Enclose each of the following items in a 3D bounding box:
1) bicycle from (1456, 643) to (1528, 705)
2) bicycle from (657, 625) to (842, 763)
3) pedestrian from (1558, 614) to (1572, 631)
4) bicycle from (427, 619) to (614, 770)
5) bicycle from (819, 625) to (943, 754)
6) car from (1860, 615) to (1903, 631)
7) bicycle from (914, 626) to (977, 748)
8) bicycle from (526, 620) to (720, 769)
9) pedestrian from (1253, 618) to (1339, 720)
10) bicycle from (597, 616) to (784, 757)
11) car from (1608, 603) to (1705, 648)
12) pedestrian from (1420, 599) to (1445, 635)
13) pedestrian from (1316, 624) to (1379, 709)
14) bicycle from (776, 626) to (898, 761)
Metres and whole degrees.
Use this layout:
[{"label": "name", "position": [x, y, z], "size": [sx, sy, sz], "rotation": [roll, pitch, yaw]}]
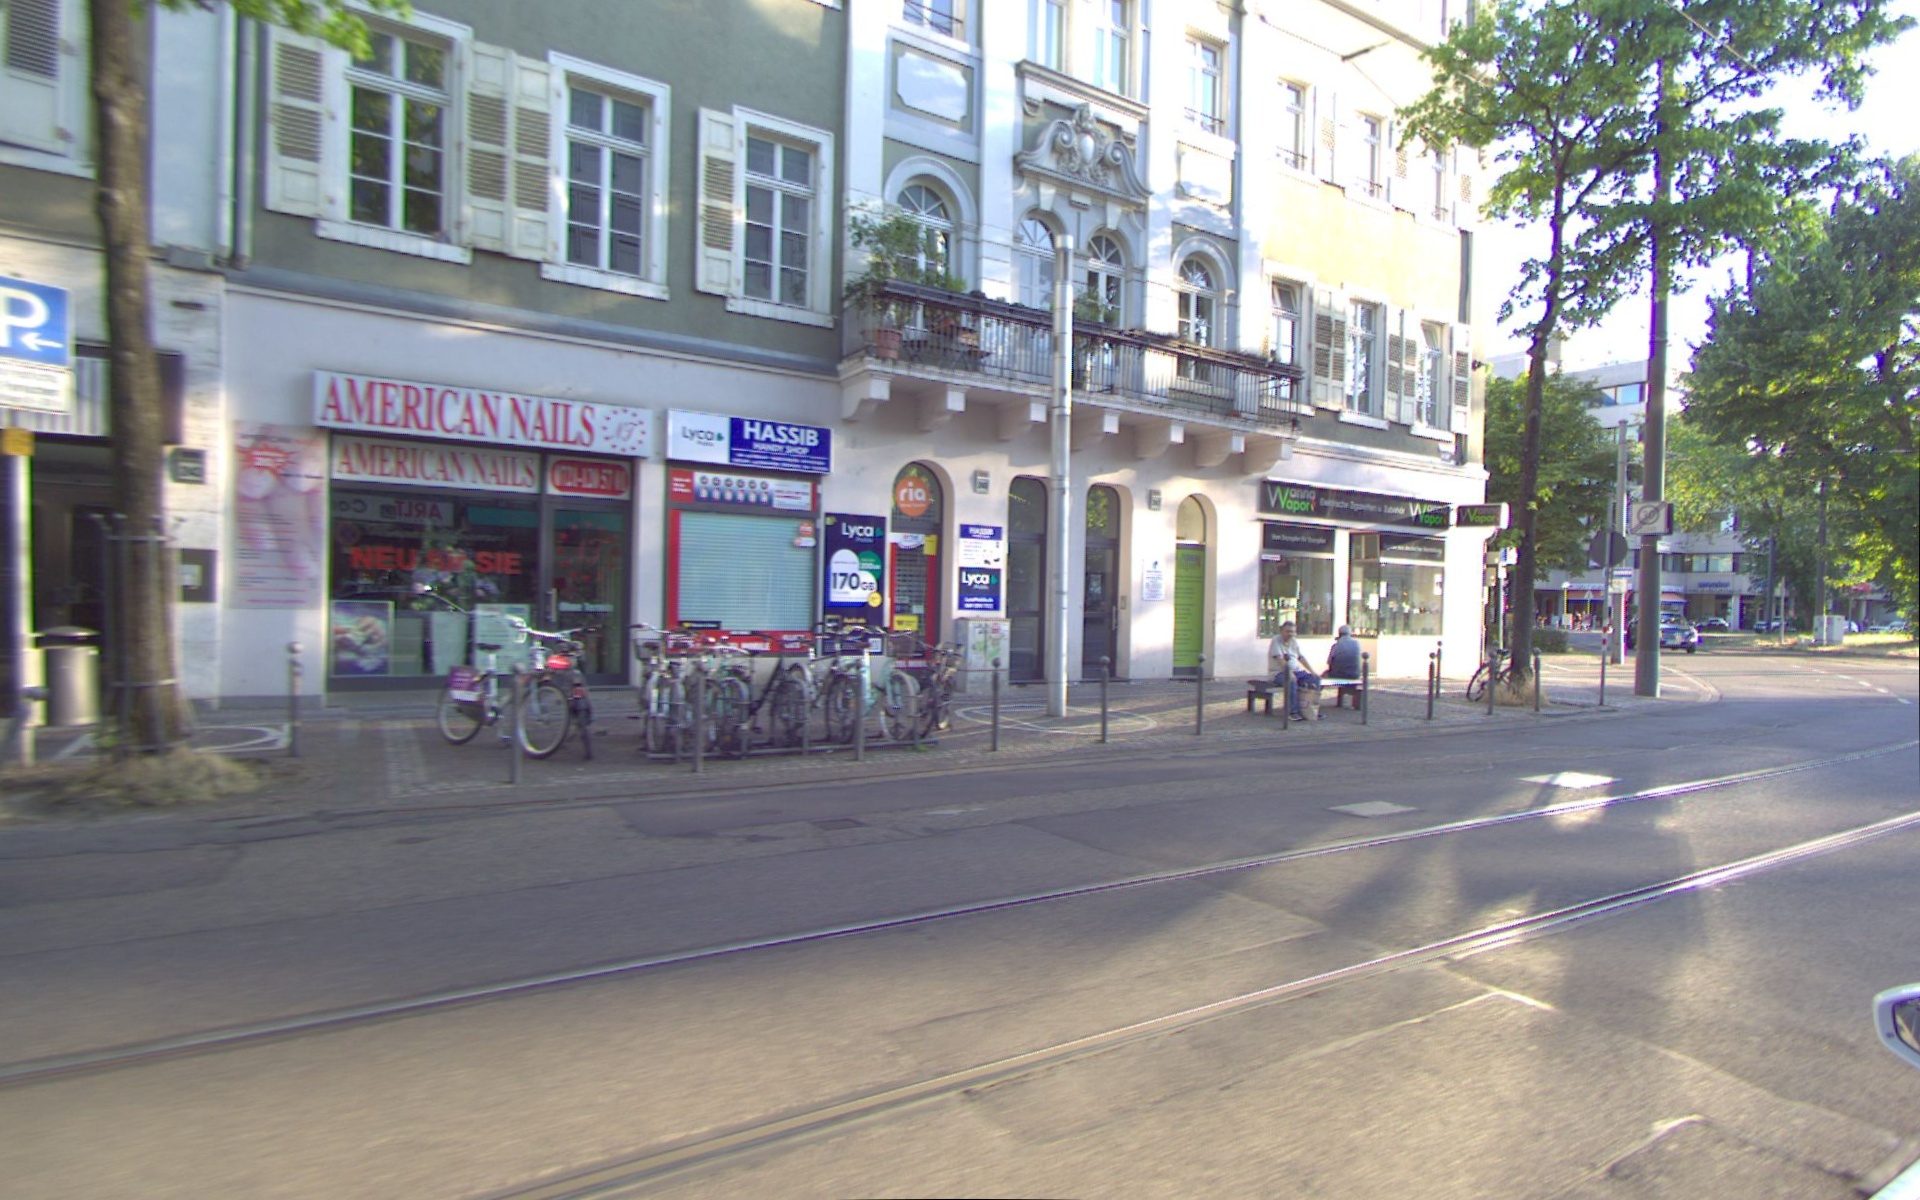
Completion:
[{"label": "bicycle", "position": [8.854, 1.214, 16.707], "size": [1.492, 0.958, 0.335], "rotation": [1, 0, -31]}, {"label": "bicycle", "position": [-2.102, 0.870, 9.865], "size": [1.996, 1.119, 0.499], "rotation": [4, 1, 34]}, {"label": "pedestrian", "position": [54.943, 2.042, 91.239], "size": [0.757, 1.523, 0.744], "rotation": [1, 0, -8]}, {"label": "bicycle", "position": [-3.953, 0.786, 8.971], "size": [1.918, 1.119, 0.566], "rotation": [4, 1, 34]}, {"label": "bicycle", "position": [-0.885, 0.891, 10.653], "size": [0.495, 1.119, 2.015], "rotation": [2, 1, -28]}, {"label": "car", "position": [87.746, 2.164, 95.627], "size": [3.878, 1.439, 1.868], "rotation": [1, 0, -29]}, {"label": "bicycle", "position": [-0.131, 0.902, 11.069], "size": [0.491, 1.119, 2.031], "rotation": [3, 1, 4]}, {"label": "bicycle", "position": [-3.133, 0.811, 9.229], "size": [2.079, 1.119, 0.499], "rotation": [4, 1, 34]}, {"label": "pedestrian", "position": [4.569, 0.915, 13.659], "size": [0.848, 1.308, 0.723], "rotation": [1, 1, -34]}, {"label": "bicycle", "position": [-2.599, 0.771, 9.544], "size": [1.996, 1.119, 0.499], "rotation": [4, 1, 34]}, {"label": "car", "position": [29.026, 1.006, 42.010], "size": [1.930, 1.699, 4.361], "rotation": [1, 0, 15]}, {"label": "pedestrian", "position": [19.166, 0.691, 40.721], "size": [0.730, 1.429, 0.772], "rotation": [1, 0, 11]}, {"label": "pedestrian", "position": [5.731, 0.969, 14.878], "size": [0.635, 1.210, 0.587], "rotation": [1, 1, -34]}, {"label": "bicycle", "position": [-1.295, 0.886, 10.207], "size": [0.495, 1.119, 2.015], "rotation": [2, 1, -28]}]
